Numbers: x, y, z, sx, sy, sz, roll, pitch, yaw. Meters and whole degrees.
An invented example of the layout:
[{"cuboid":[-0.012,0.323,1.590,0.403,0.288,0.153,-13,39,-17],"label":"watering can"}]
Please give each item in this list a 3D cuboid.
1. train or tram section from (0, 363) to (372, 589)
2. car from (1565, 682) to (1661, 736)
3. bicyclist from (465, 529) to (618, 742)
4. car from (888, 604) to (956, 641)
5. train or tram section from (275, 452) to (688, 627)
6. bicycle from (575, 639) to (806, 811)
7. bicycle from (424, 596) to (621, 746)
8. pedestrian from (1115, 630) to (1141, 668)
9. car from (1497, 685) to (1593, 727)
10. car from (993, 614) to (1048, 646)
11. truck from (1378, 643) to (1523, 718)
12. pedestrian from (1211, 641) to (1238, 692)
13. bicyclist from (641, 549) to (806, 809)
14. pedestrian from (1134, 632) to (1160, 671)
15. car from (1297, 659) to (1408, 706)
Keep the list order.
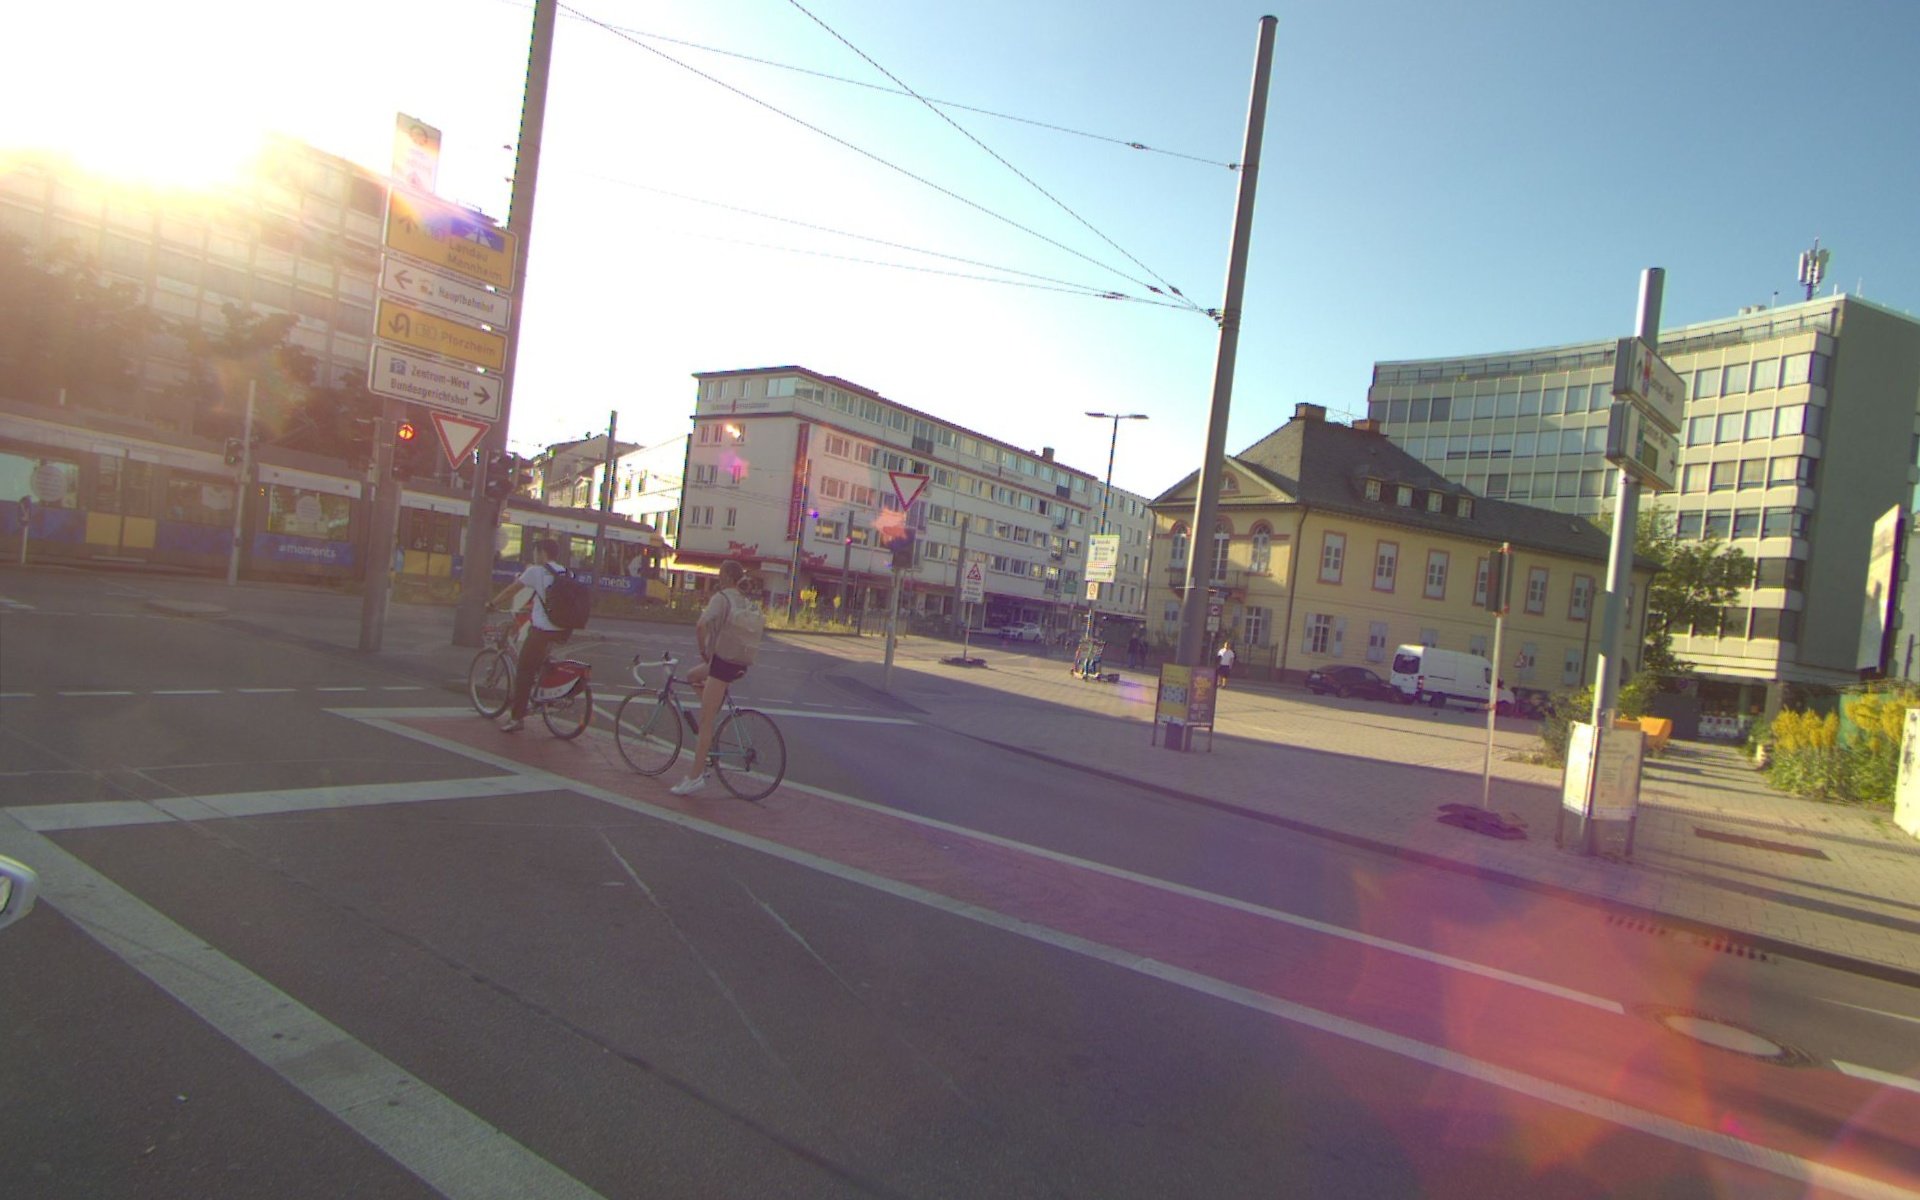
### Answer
[{"cuboid":[-19.822,-2.709,22.500,3.644,3.879,12.990,7,-1,10],"label":"train or tram section"},{"cuboid":[31.148,5.201,47.979,3.706,2.003,1.709,8,-2,-17],"label":"car"},{"cuboid":[-3.818,0.315,9.177,1.042,1.789,0.543,7,-1,27],"label":"bicyclist"},{"cuboid":[-2.662,1.616,71.641,1.970,2.036,4.858,6,-2,38],"label":"car"},{"cuboid":[-15.525,-1.674,34.761,3.651,3.877,12.974,7,-2,28],"label":"train or tram section"},{"cuboid":[-2.066,0.913,7.658,1.664,1.013,0.543,6,-1,27],"label":"bicycle"},{"cuboid":[-4.040,0.629,9.251,1.777,1.113,0.543,6,-1,27],"label":"bicycle"},{"cuboid":[7.830,2.258,46.833,0.804,1.661,0.685,7,-1,-11],"label":"pedestrian"},{"cuboid":[27.091,4.922,46.591,3.706,1.380,1.709,8,-2,-17],"label":"car"},{"cuboid":[5.036,2.499,83.391,1.970,2.036,4.858,6,-2,38],"label":"car"},{"cuboid":[21.829,3.572,44.808,5.556,2.578,2.294,8,-2,-17],"label":"truck"},{"cuboid":[9.786,2.451,37.205,0.746,1.783,1.009,7,-1,16],"label":"pedestrian"},{"cuboid":[-1.751,0.570,7.485,0.778,1.766,0.615,7,-1,27],"label":"bicyclist"},{"cuboid":[8.681,2.389,46.819,0.804,1.661,0.685,7,-1,-11],"label":"pedestrian"},{"cuboid":[16.619,3.478,42.594,4.133,1.380,1.709,8,-2,-17],"label":"car"}]
